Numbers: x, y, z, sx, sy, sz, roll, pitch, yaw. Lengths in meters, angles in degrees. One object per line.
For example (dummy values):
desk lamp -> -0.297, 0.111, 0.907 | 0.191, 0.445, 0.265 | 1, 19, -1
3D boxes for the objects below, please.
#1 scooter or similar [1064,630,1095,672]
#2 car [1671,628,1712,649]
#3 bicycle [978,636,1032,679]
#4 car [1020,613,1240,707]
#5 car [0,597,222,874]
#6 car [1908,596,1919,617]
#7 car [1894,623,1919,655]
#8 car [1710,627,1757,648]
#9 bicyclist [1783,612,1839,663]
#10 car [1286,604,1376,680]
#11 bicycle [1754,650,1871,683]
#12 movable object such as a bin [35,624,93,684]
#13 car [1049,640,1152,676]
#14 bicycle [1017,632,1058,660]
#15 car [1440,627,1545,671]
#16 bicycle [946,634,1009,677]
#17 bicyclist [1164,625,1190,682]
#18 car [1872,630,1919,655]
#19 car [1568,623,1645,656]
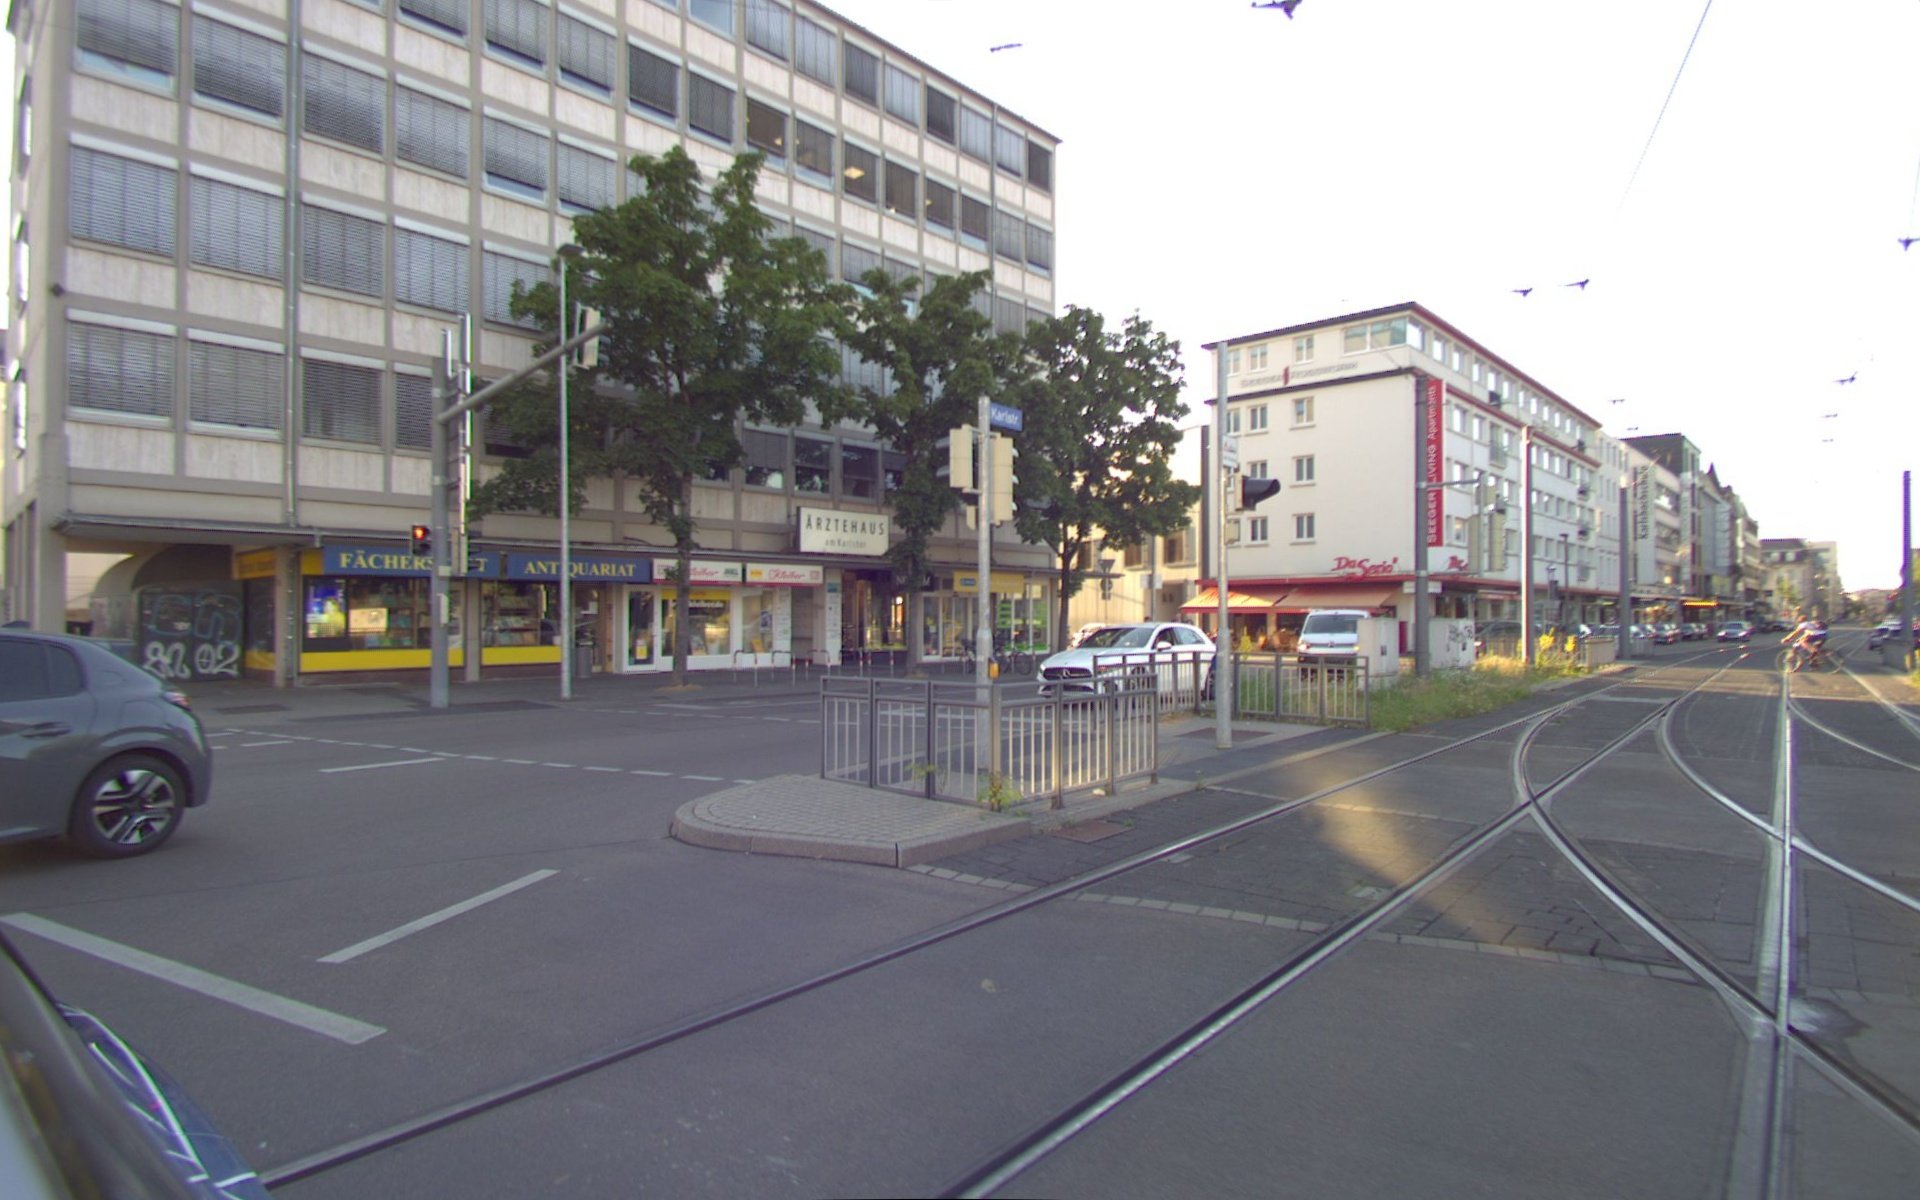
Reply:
scooter or similar -> 3.895, 1.647, 33.059 | 0.506, 1.332, 1.284 | 0, -2, -17
car -> 59.932, 3.113, 82.894 | 3.940, 1.678, 2.002 | 1, -2, -44
bicycle -> 1.296, 1.652, 29.468 | 1.637, 1.194, 0.531 | -1, -2, 44
car -> 3.164, 1.053, 18.083 | 1.815, 1.460, 4.502 | -5, -4, 40
car -> -6.562, 0.725, 4.798 | 1.904, 1.515, 4.667 | 0, -1, 22
car -> 91.337, 0.631, 95.754 | 1.997, 1.962, 3.949 | -1, -1, 38
car -> 49.360, 1.937, 51.789 | 4.349, 1.528, 2.001 | 0, -4, -45
car -> 60.781, 2.946, 79.500 | 4.215, 1.571, 2.207 | 1, -2, -43
bicyclist -> 24.371, 1.066, 28.995 | 0.821, 1.452, 0.933 | 1, -2, -23
car -> 10.000, 1.142, 27.069 | 1.988, 1.852, 4.837 | -1, -3, 23
bicycle -> 24.369, 1.879, 28.981 | 0.832, 0.853, 2.430 | 1, -2, -23
movable object such as a bin -> -20.906, 1.243, 23.599 | 0.946, 1.337, 1.416 | 1, -2, -44
car -> 6.162, 2.525, 44.797 | 1.711, 1.447, 4.375 | 1, -2, -44
bicycle -> 3.439, 2.035, 44.747 | 1.750, 1.195, 0.556 | 3, -4, -30
car -> 20.408, 1.826, 38.734 | 4.233, 1.586, 2.004 | 1, -2, -38
bicycle -> 0.481, 1.564, 28.919 | 1.742, 1.149, 0.658 | 0, -1, 36
bicyclist -> 5.853, 1.436, 27.283 | 0.607, 1.498, 0.716 | -1, -2, 8
car -> 56.006, 2.526, 60.491 | 4.273, 1.421, 1.917 | 1, -2, -45
car -> 30.307, 1.819, 47.364 | 4.591, 1.452, 2.042 | 1, -2, -44
